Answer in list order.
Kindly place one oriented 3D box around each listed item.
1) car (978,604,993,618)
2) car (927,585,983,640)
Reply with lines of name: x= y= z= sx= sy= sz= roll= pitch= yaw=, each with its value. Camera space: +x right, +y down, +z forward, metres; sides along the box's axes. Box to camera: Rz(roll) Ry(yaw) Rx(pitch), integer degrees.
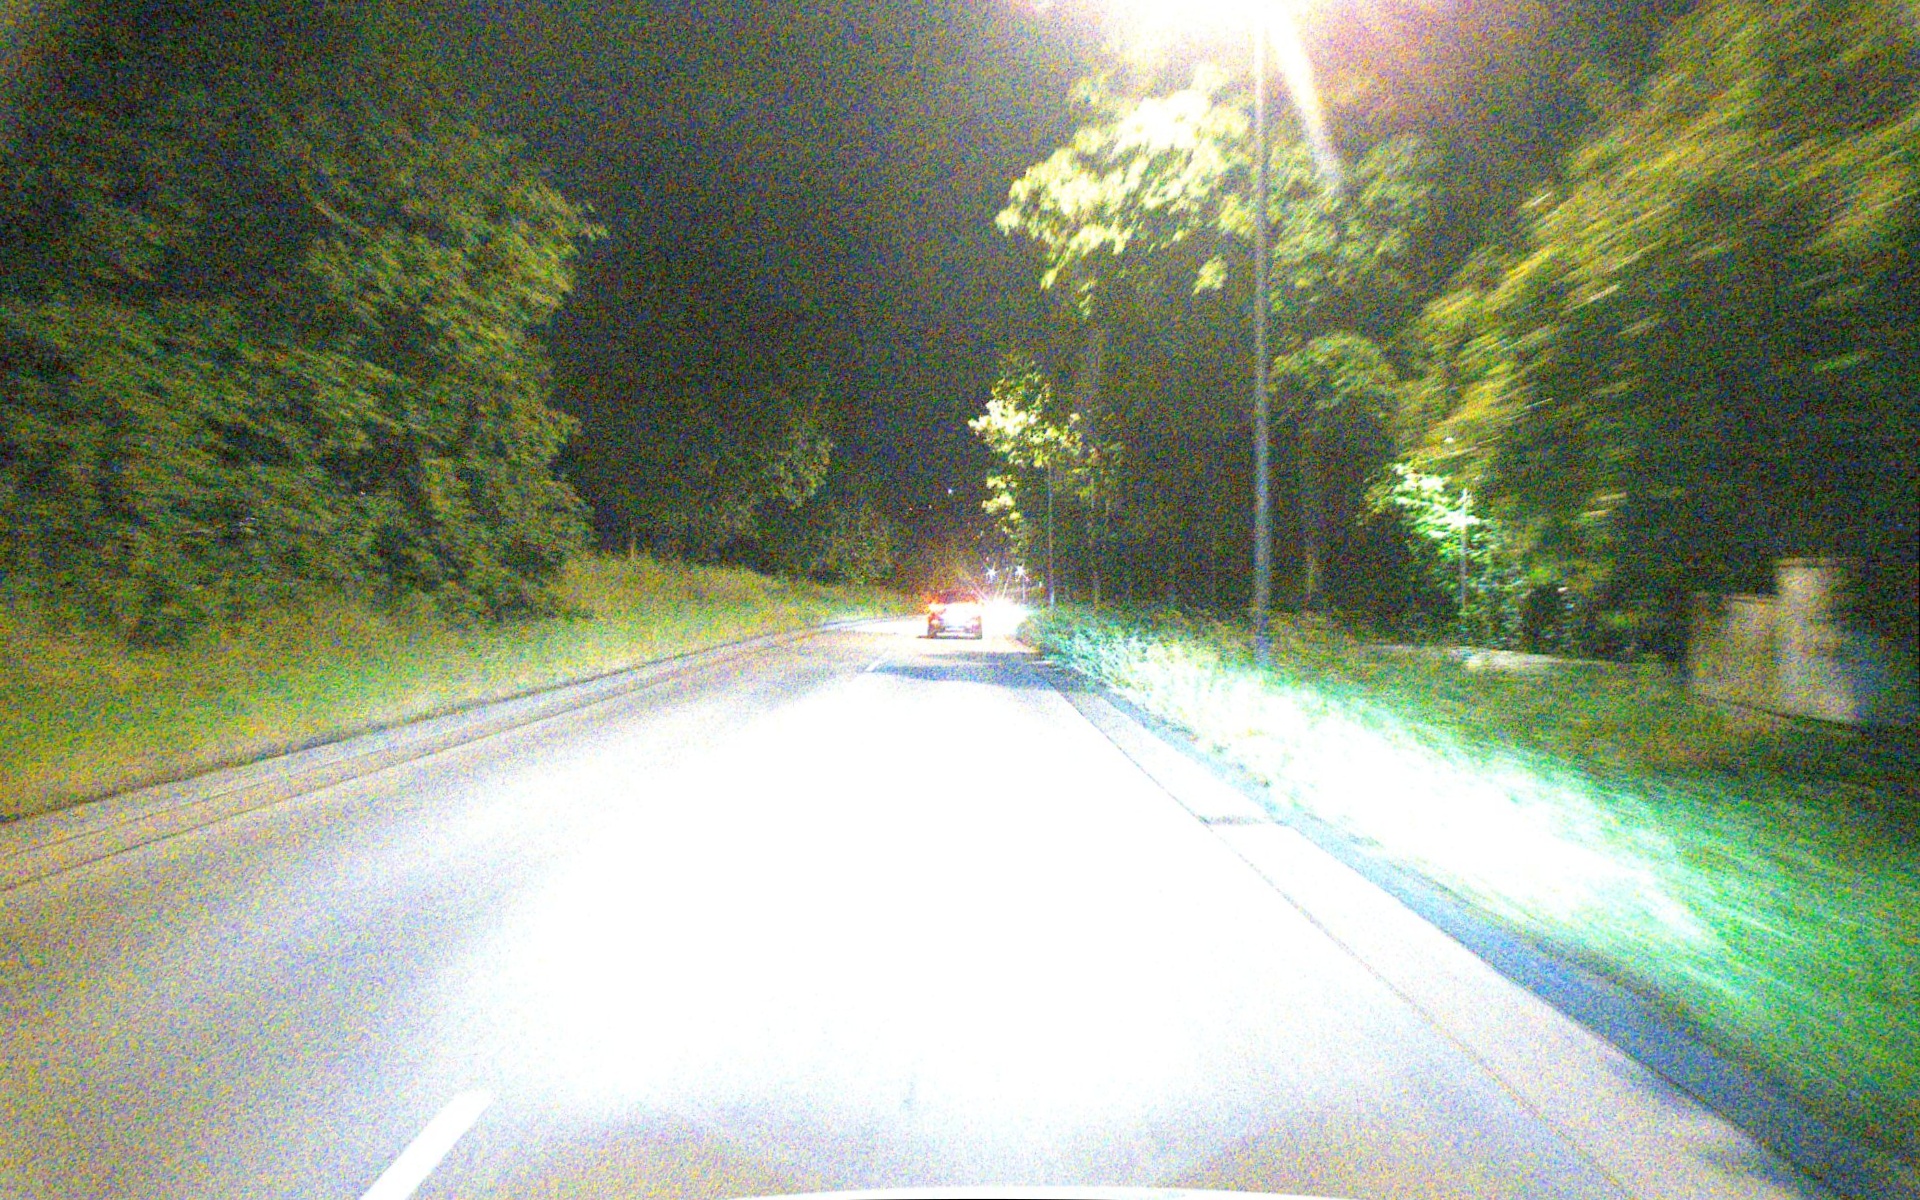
car: x=2.934 y=1.287 z=189.721 sx=1.653 sy=1.483 sz=4.000 roll=2 pitch=-1 yaw=1
car: x=-0.185 y=0.401 z=54.144 sx=1.727 sy=1.670 sz=3.722 roll=2 pitch=0 yaw=-1
